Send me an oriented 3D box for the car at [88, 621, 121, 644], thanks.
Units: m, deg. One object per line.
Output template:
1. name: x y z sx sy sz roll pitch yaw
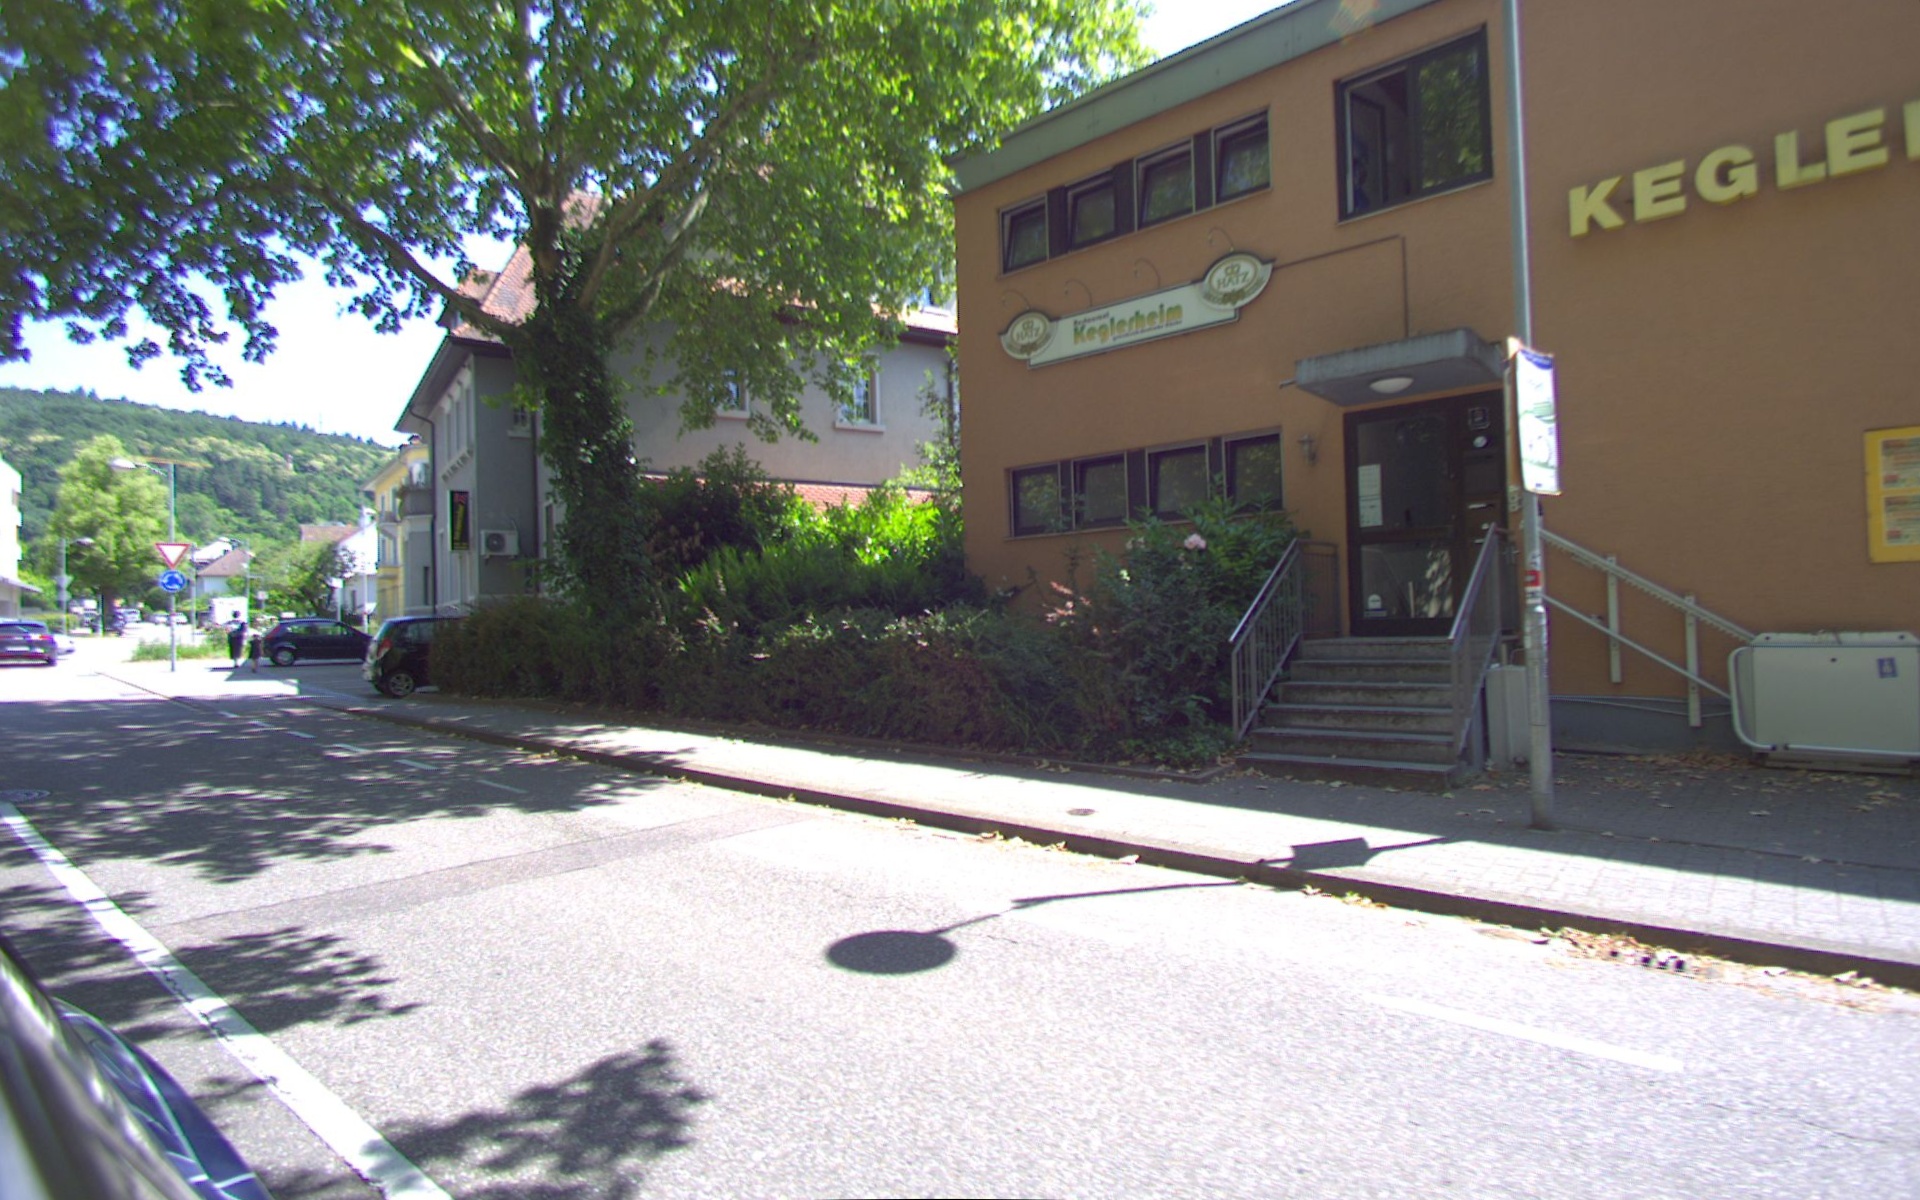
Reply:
1. car: -60.552 2.286 71.651 1.728 1.516 3.999 0 -1 -39

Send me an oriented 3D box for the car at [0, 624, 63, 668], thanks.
1. car: -33.791 1.581 34.923 3.931 1.463 1.613 0 -1 -28

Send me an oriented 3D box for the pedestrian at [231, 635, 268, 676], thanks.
1. pedestrian: -19.977 1.547 28.444 0.745 1.130 0.898 1 -1 -43

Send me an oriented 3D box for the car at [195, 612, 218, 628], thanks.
1. car: -73.563 1.924 98.827 1.728 1.516 4.000 0 -1 -38

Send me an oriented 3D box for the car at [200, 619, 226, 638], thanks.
1. car: -64.418 2.442 87.254 1.728 1.516 4.000 0 -1 -38

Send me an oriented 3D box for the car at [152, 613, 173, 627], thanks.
1. car: -101.658 2.550 128.919 1.969 1.679 4.007 1 0 -40

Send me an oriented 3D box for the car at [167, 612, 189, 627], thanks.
1. car: -93.663 2.342 121.178 1.969 1.679 4.007 1 0 -40

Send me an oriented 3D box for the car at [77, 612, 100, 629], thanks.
1. car: -97.351 2.277 113.115 1.739 1.763 4.008 0 -1 -38

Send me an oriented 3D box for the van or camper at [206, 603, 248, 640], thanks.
1. van or camper: -57.648 1.685 79.545 2.238 2.658 5.897 -3 1 -39

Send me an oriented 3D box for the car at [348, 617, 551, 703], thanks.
1. car: -10.156 1.124 20.220 3.338 1.558 1.727 0 -1 -39

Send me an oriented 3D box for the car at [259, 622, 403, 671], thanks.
1. car: -20.161 1.449 32.483 3.732 1.471 1.727 1 -1 -39

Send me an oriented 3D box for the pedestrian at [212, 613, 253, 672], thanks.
1. pedestrian: -21.907 1.261 30.463 0.861 1.755 1.113 1 -1 -43

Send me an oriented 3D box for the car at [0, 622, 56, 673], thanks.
1. car: -28.926 1.411 30.941 1.748 1.437 4.396 1 -1 -44
